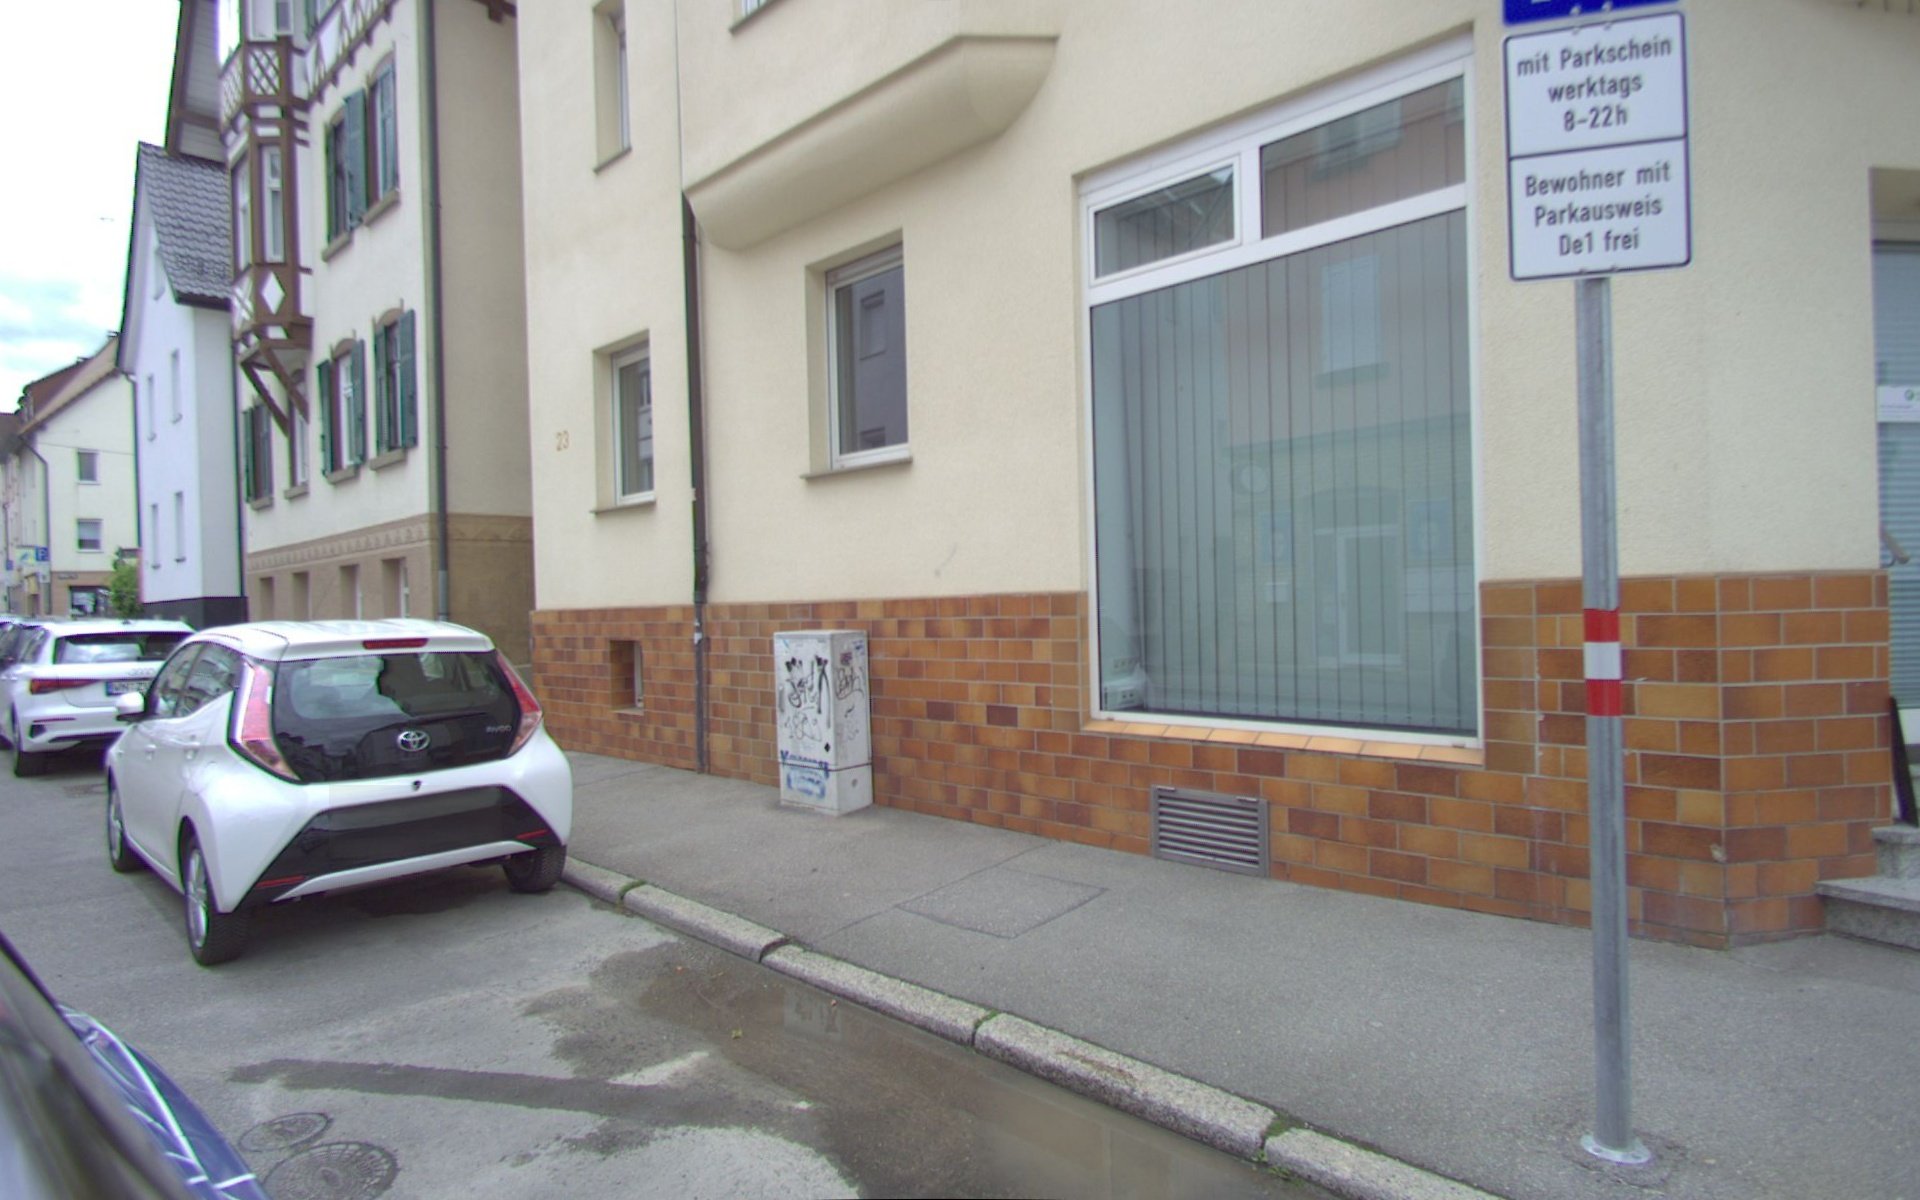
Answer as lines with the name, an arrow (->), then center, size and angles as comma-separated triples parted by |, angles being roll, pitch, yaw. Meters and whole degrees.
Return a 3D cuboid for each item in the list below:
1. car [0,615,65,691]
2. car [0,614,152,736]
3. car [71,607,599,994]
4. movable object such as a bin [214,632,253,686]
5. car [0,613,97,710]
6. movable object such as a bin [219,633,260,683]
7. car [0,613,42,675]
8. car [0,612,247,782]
car -> -20.270, 1.054, 21.334 | 4.067, 1.460, 1.732 | 0, -1, 43
car -> -12.941, 0.961, 14.395 | 4.372, 1.467, 1.732 | 0, -1, 44
car -> -3.750, 0.774, 5.771 | 3.817, 1.444, 1.648 | 0, 0, 43
movable object such as a bin -> -14.638, 1.176, 20.391 | 0.604, 1.023, 0.508 | -2, 1, 44
car -> -16.534, 1.000, 17.760 | 4.086, 1.521, 1.732 | 0, -1, 44
movable object such as a bin -> -14.182, 1.134, 19.920 | 0.604, 0.939, 0.508 | -2, 1, 44
car -> -24.384, 1.049, 25.175 | 4.347, 1.442, 1.733 | 0, -1, 41
car -> -9.265, 0.878, 10.911 | 4.371, 1.443, 1.732 | 0, -1, 43
